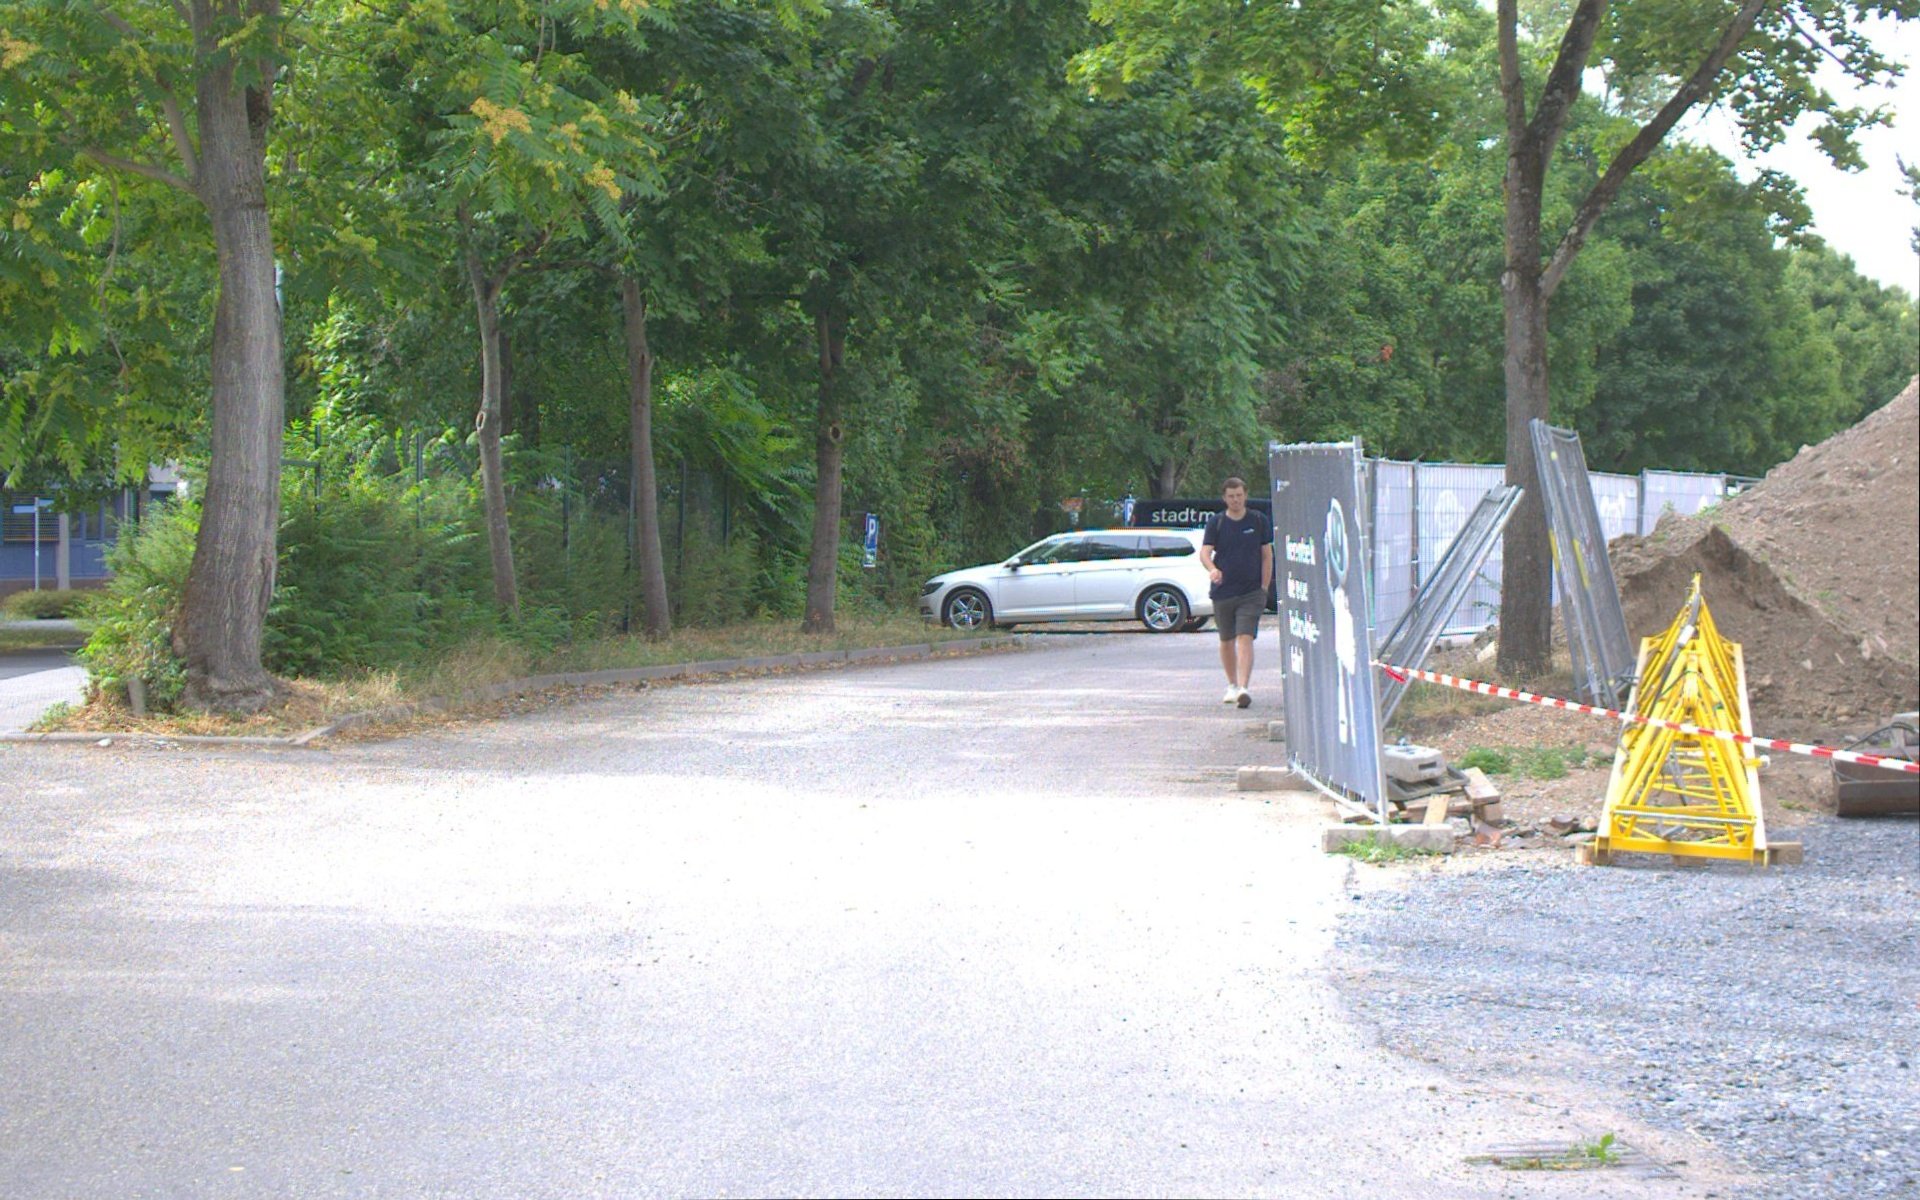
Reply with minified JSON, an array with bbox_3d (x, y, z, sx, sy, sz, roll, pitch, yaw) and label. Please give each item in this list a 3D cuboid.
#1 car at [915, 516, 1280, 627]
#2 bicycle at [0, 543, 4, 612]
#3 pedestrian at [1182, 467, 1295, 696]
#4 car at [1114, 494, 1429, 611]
[{"bbox_3d":[1.948,-0.413,48.253,4.796,1.483,1.999,1,1,15],"label":"car"},{"bbox_3d":[-16.825,-0.377,57.989,0.650,1.177,1.899,1,1,8],"label":"bicycle"},{"bbox_3d":[2.214,-0.156,27.258,0.748,1.783,0.730,1,1,16],"label":"pedestrian"},{"bbox_3d":[5.366,-0.832,59.197,5.050,1.946,1.998,1,1,19],"label":"car"}]
